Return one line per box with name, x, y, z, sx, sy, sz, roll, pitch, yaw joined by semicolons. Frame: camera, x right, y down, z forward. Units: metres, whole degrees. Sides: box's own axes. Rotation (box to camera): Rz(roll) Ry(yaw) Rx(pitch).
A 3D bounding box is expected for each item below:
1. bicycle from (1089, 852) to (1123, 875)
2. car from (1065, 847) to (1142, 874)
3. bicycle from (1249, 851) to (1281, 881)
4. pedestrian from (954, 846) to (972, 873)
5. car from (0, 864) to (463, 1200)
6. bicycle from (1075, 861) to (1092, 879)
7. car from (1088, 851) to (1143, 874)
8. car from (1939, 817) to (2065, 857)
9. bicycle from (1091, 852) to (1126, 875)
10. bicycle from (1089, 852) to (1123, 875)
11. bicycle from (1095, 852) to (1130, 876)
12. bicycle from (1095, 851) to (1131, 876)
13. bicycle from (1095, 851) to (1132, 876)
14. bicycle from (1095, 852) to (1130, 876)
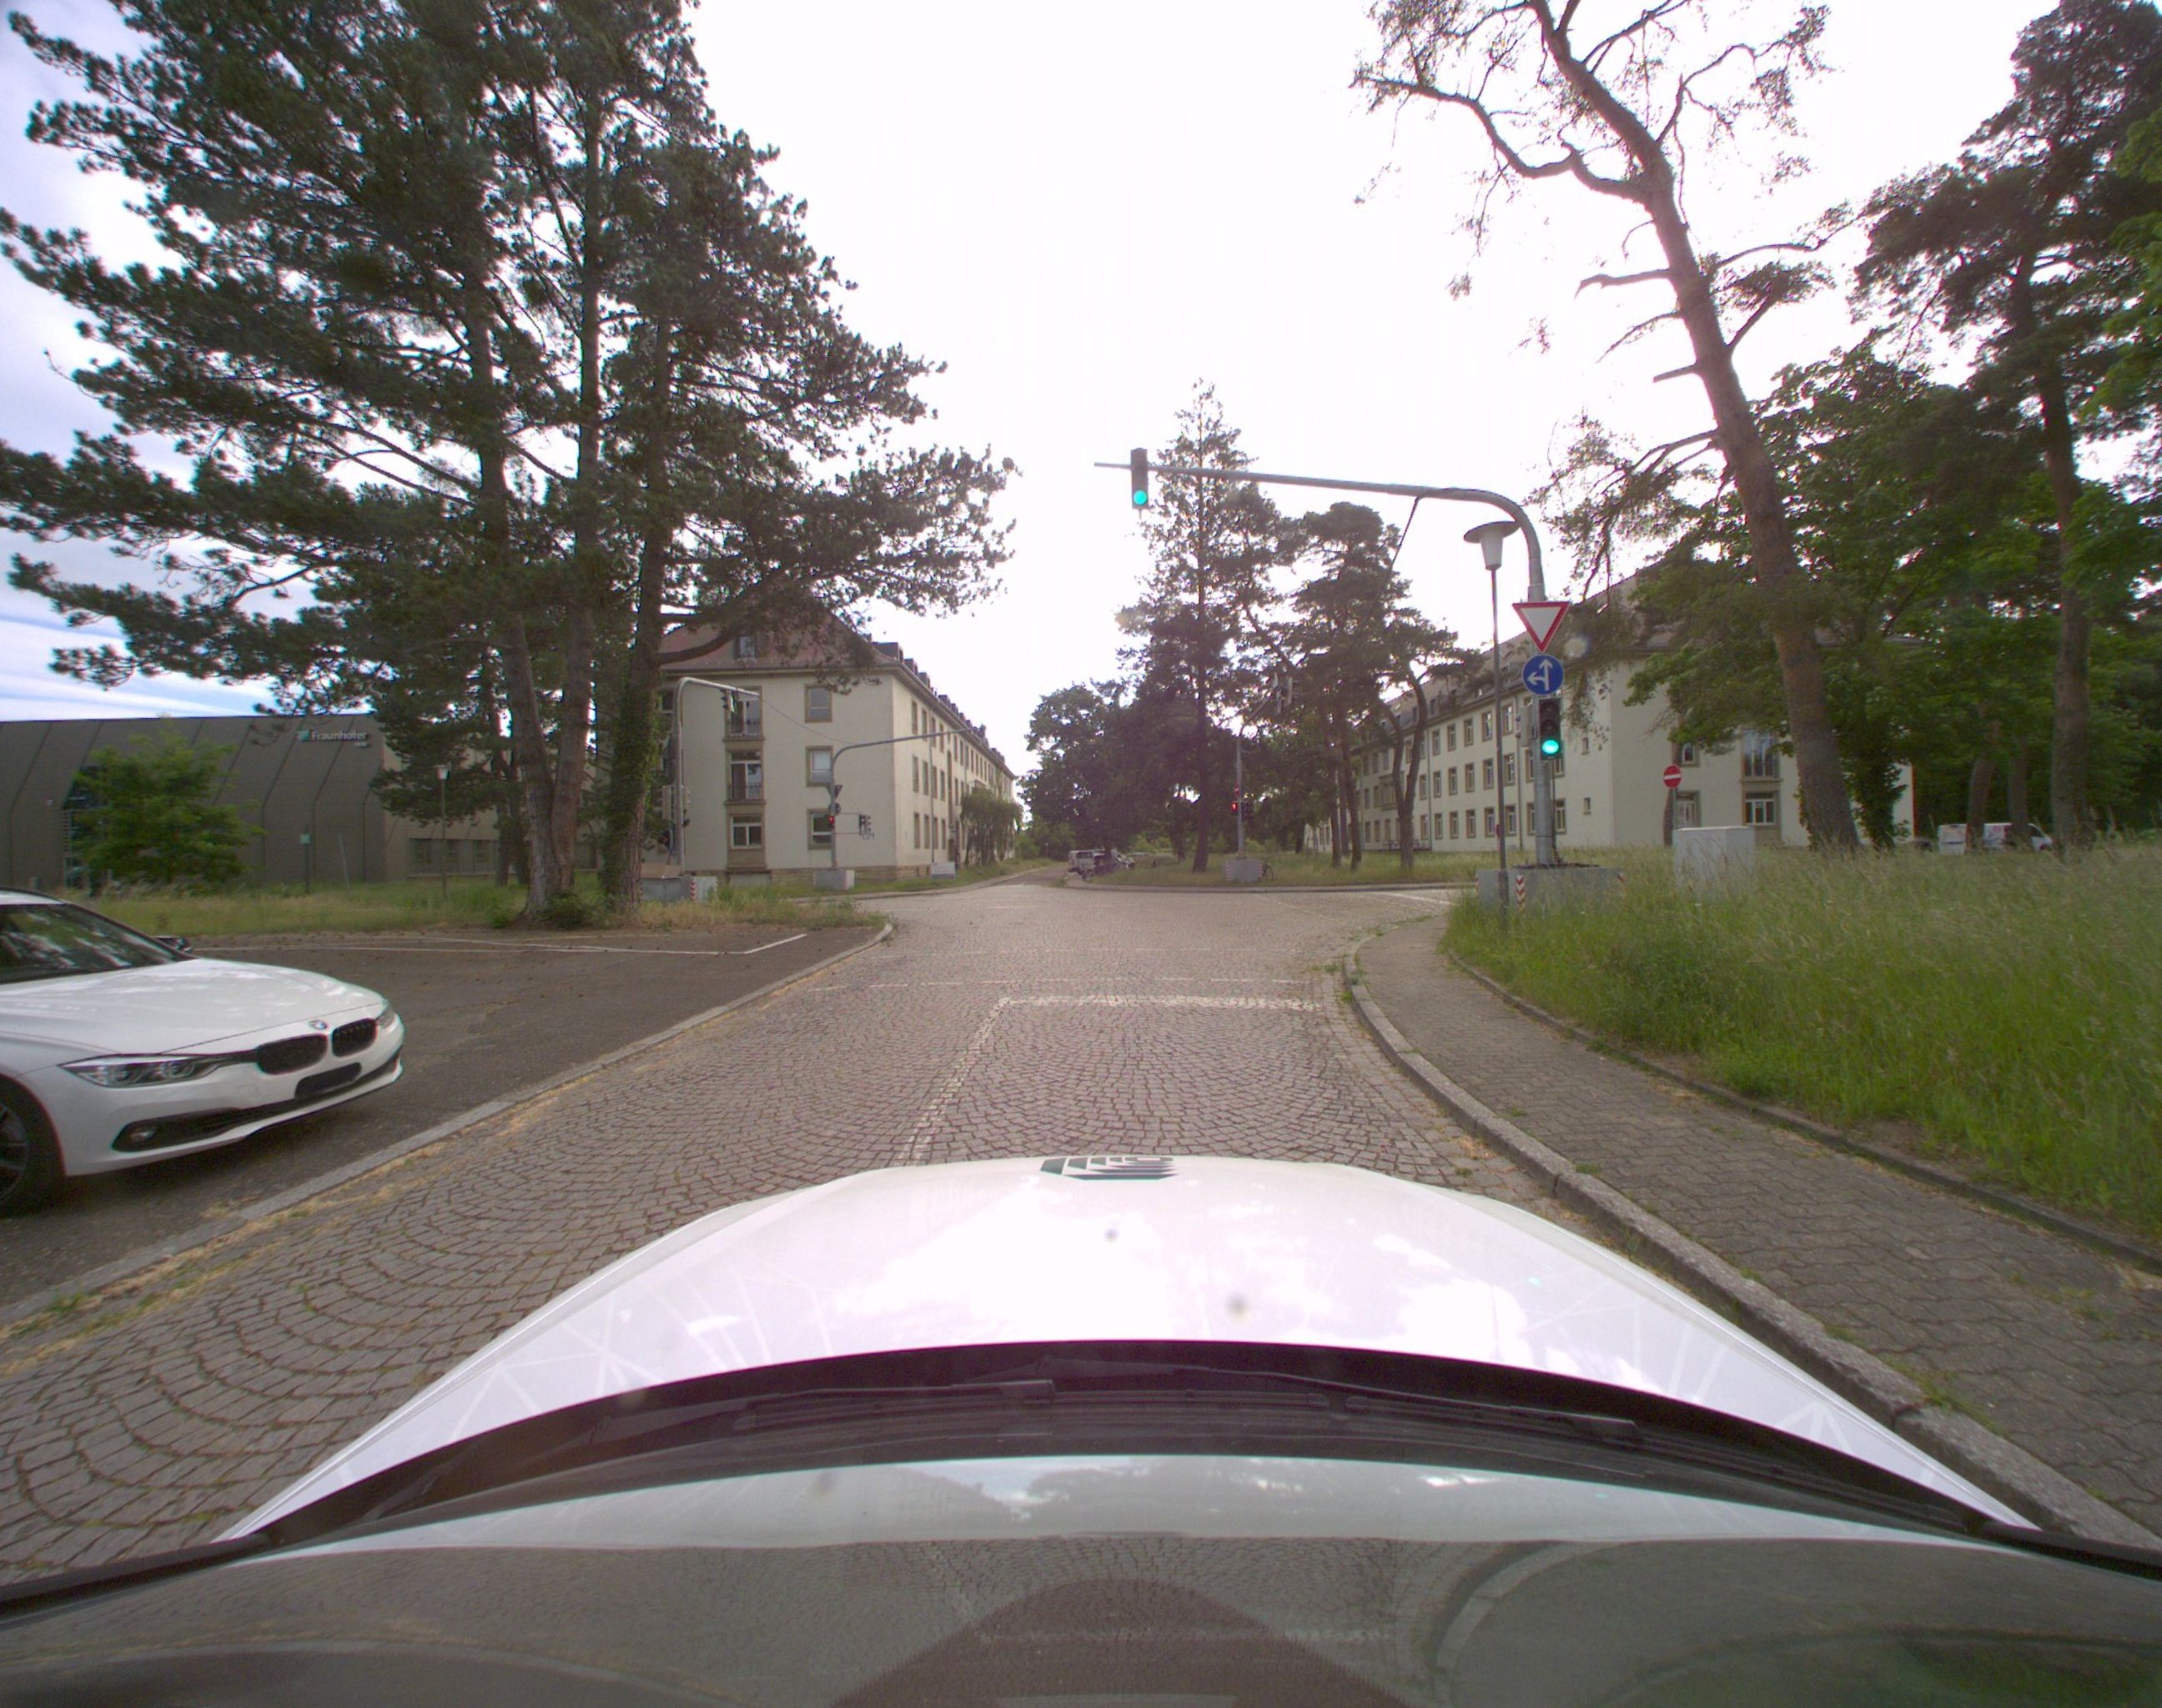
bicycle;1.557;0.589;50.920;2.062;1.378;0.620;-1;0;1
car;1.760;0.500;64.437;5.695;1.910;2.221;-1;0;-12
bicycle;7.698;0.492;34.200;0.905;1.177;1.874;-1;0;0
pedestrian;-9.003;0.413;62.167;1.081;2.013;1.023;-1;0;6
car;-6.465;0.799;4.465;4.636;1.443;1.800;1;0;-3
bicycle;0.154;0.874;44.760;0.614;0.963;2.081;-1;0;8
car;2.588;0.627;61.056;3.924;1.544;1.997;-1;0;-4
car;56.870;-1.011;50.380;5.160;2.288;2.214;-1;0;2
bicycle;1.665;0.579;49.434;2.062;1.378;0.620;-1;0;1
bicycle;1.529;0.583;50.173;2.062;1.378;0.620;-1;0;1
bicycle;1.876;0.577;48.632;2.062;1.378;0.620;-1;0;1
bicycle;1.843;0.567;47.211;2.062;1.378;0.620;-1;0;1
bicycle;1.874;0.564;46.540;2.062;1.378;0.620;-1;0;1
bicycle;1.852;0.572;47.836;2.062;1.378;0.620;-1;0;1
